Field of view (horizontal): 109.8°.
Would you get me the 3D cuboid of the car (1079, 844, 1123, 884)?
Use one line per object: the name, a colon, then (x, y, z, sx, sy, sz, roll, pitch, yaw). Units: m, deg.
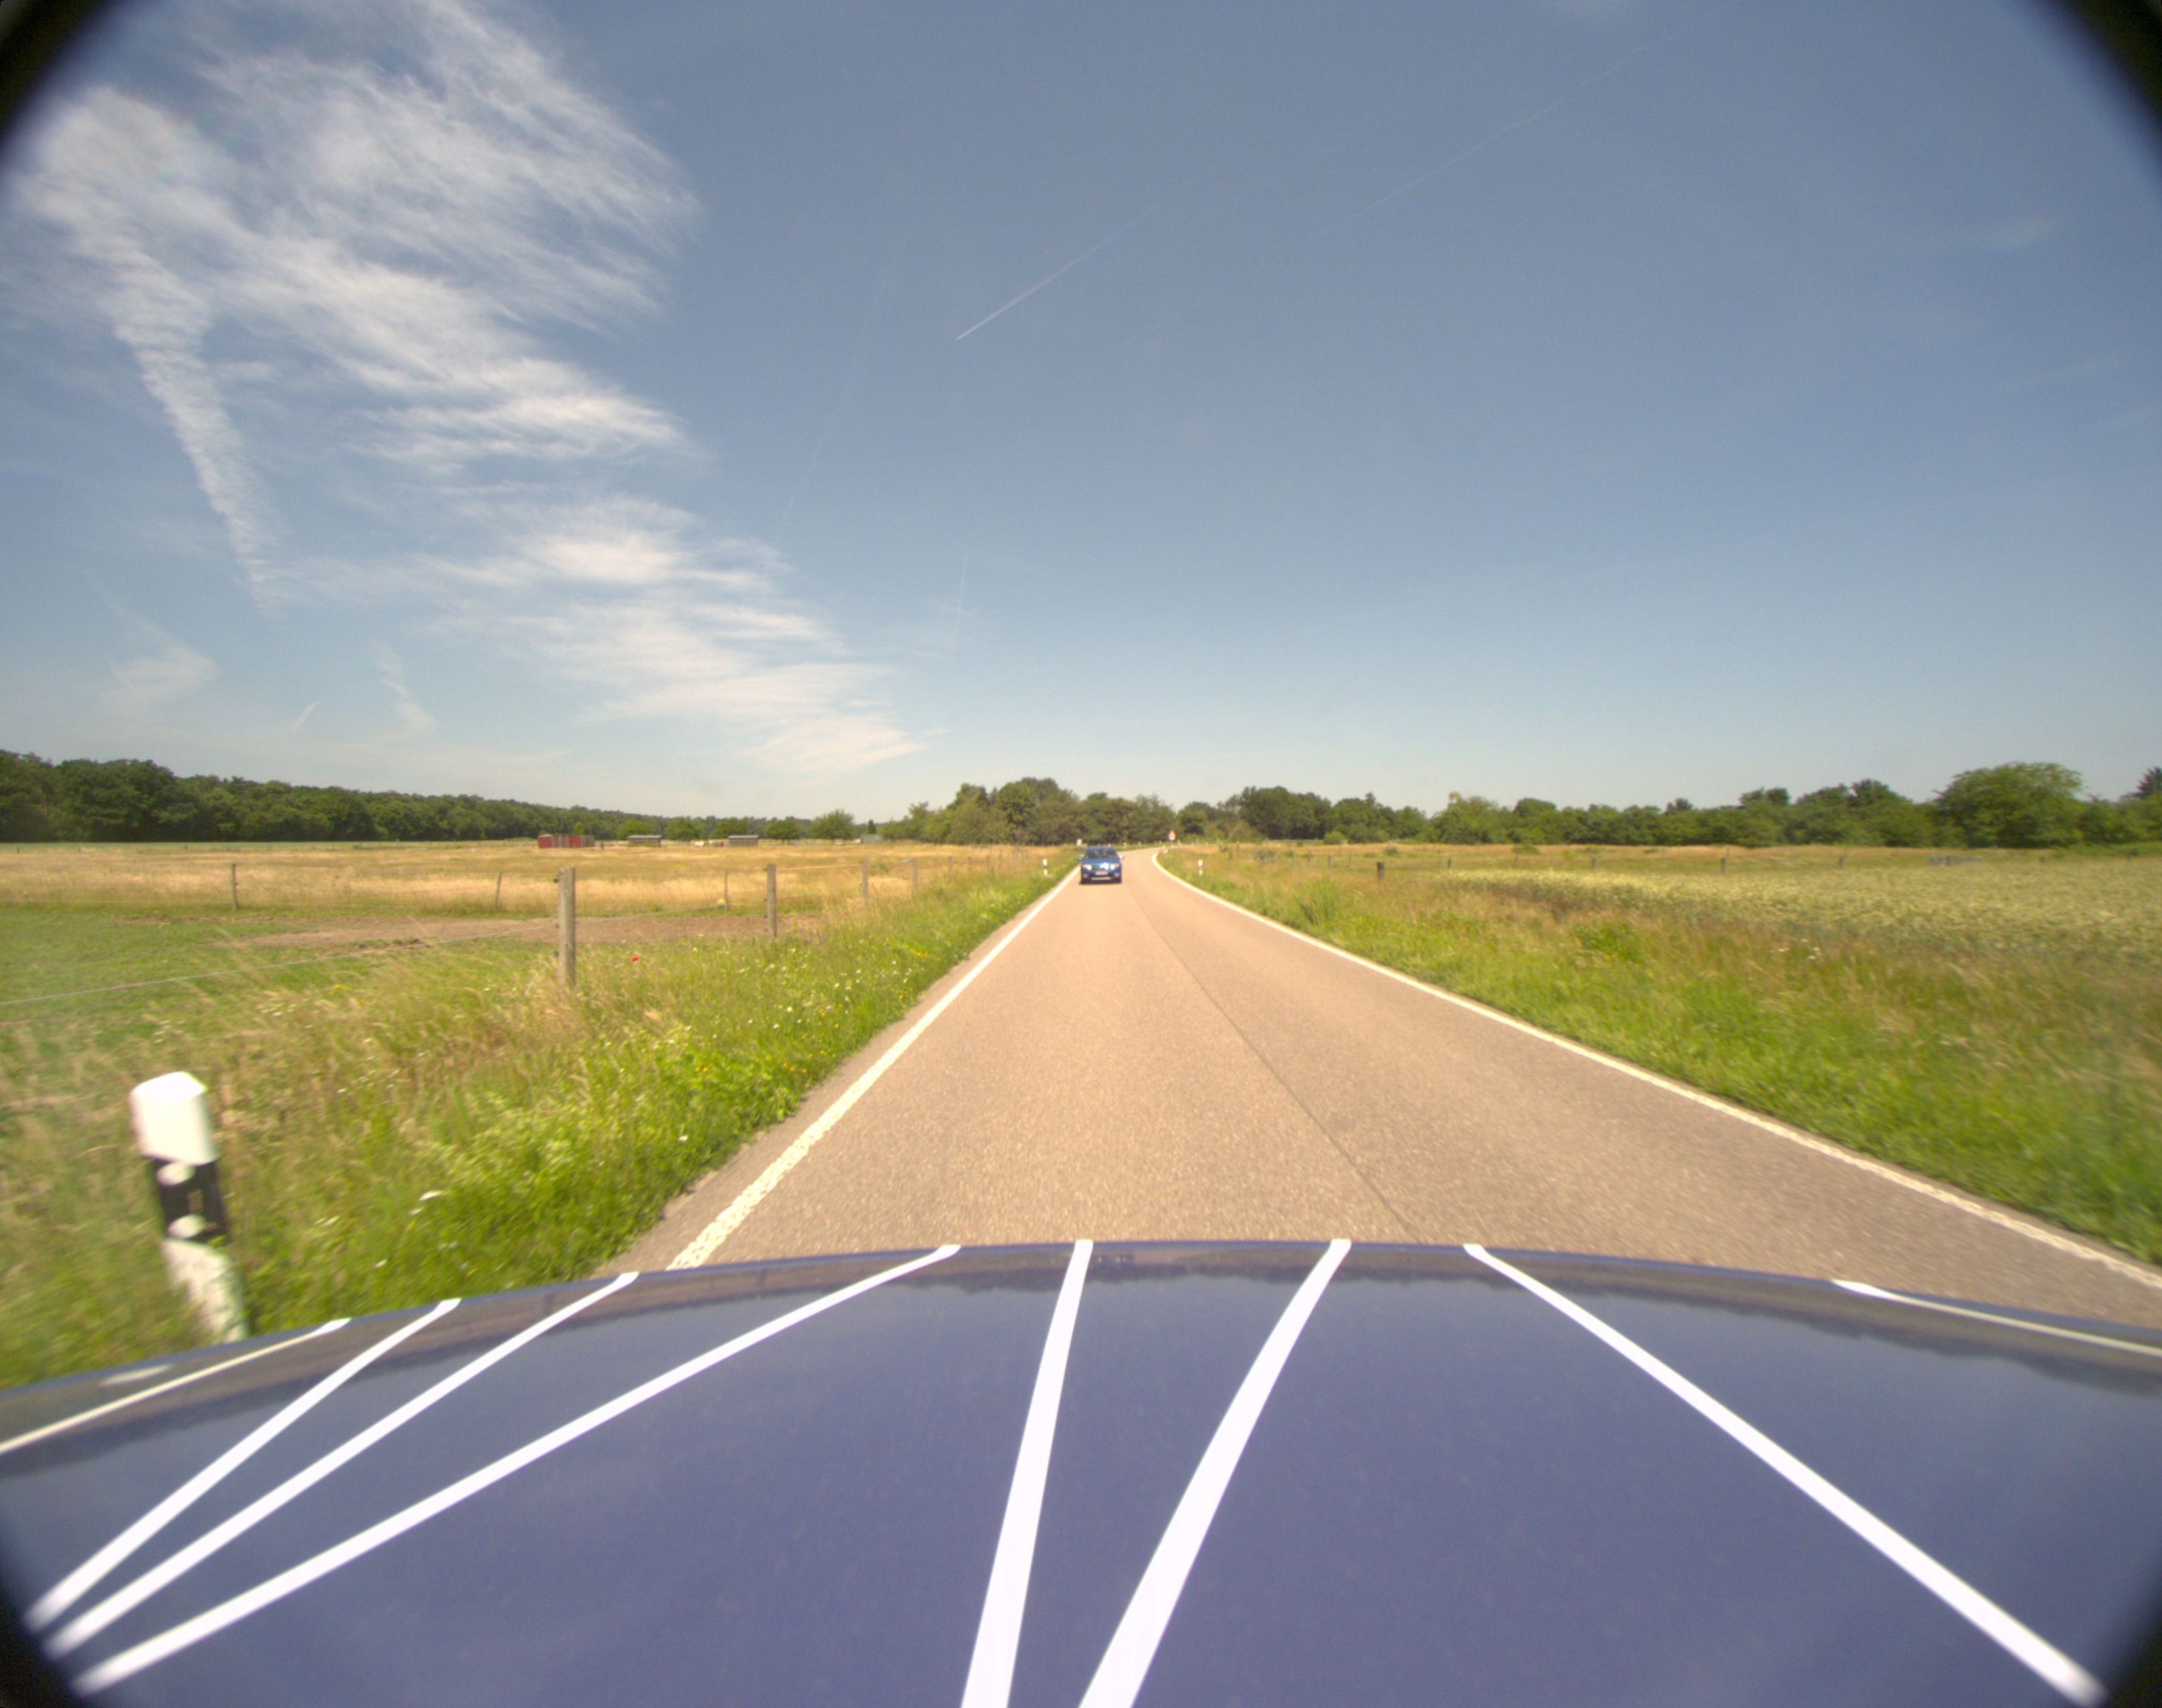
car: (0.922, 0.390, 33.143, 1.733, 1.572, 4.000, -1, 1, 4)
